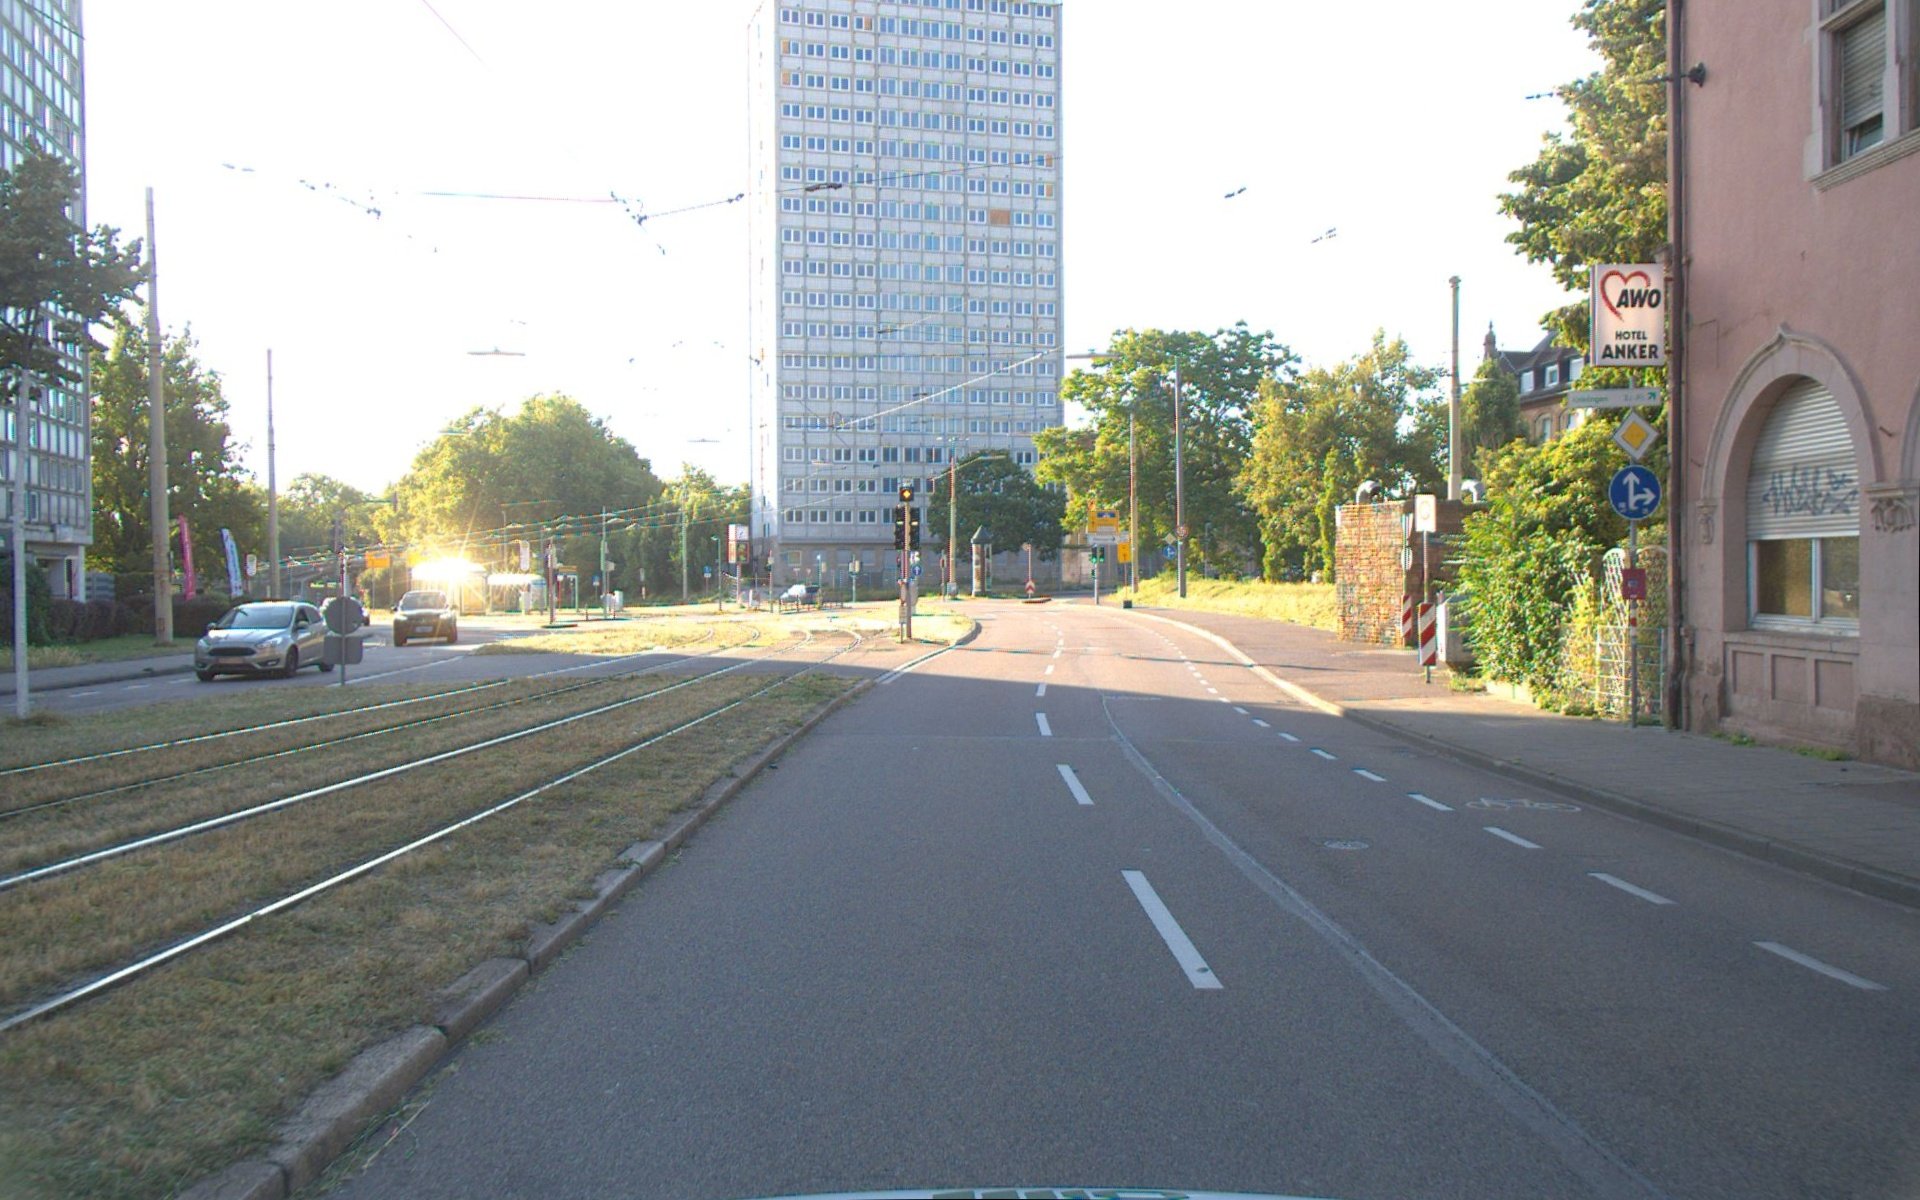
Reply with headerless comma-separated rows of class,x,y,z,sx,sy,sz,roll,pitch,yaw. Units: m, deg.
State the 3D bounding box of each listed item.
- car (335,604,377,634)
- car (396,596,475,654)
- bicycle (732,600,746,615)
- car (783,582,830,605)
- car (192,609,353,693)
car,-31.824,0.966,87.055,1.753,1.508,4.366,-1,0,-24
car,-17.152,0.783,54.288,1.884,1.690,4.696,-2,1,-11
bicycle,-14.408,0.479,107.801,0.542,0.933,1.744,-3,1,3
car,-10.402,-0.419,111.804,1.753,1.447,3.819,-2,1,-28
car,-13.840,0.987,33.551,1.664,1.485,4.312,-3,0,-4
